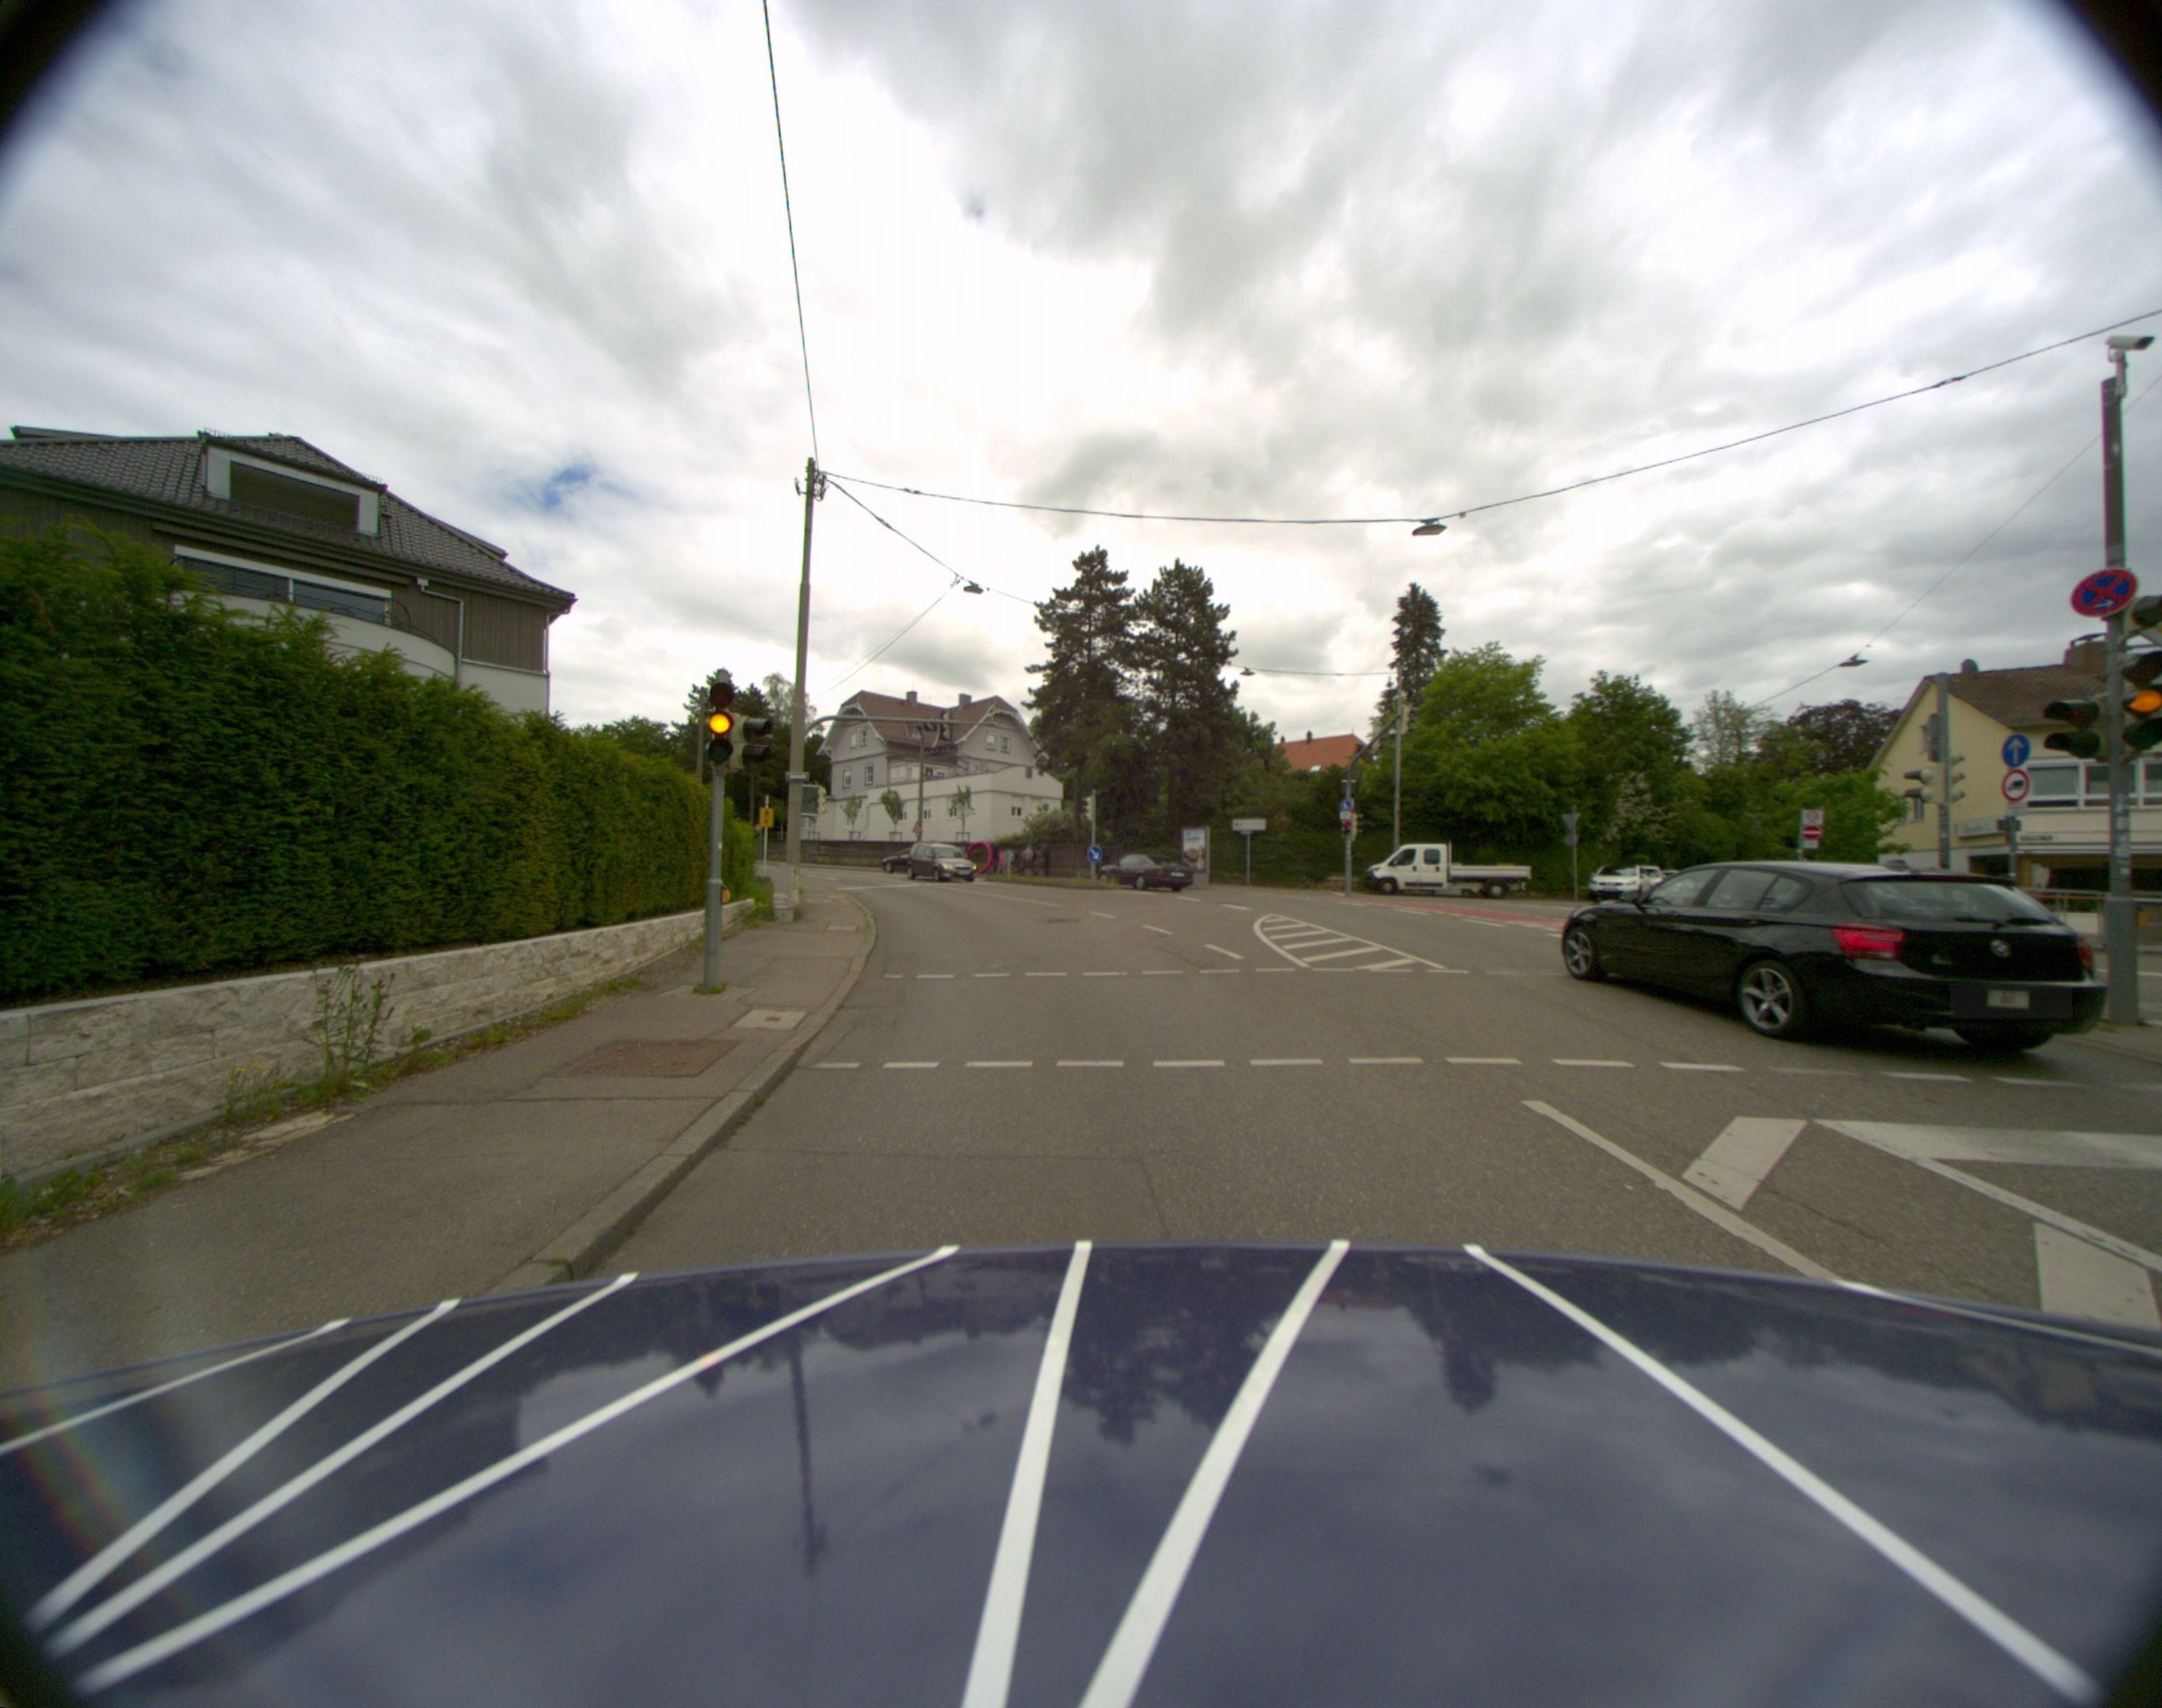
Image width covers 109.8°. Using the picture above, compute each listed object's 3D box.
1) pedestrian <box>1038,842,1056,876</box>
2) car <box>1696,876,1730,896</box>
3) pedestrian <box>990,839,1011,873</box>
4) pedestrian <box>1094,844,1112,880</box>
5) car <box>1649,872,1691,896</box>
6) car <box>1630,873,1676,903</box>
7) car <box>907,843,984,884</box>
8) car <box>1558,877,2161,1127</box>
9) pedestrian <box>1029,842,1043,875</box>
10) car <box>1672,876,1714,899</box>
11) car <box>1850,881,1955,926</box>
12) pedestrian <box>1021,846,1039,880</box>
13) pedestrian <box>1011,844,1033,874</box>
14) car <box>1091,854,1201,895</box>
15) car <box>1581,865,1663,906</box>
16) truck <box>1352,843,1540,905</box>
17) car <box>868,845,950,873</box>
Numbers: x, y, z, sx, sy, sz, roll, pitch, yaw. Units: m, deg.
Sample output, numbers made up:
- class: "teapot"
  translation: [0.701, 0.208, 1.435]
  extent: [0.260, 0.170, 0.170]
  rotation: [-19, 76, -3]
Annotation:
- class: "pedestrian"
  translation: [-1.826, 0.272, 40.704]
  extent: [0.611, 1.824, 0.605]
  rotation: [2, 1, 36]
- class: "car"
  translation: [54.616, 2.758, 65.646]
  extent: [1.866, 1.577, 3.739]
  rotation: [2, 0, 44]
- class: "pedestrian"
  translation: [-4.427, 0.111, 41.928]
  extent: [0.686, 1.803, 0.882]
  rotation: [2, 1, 38]
- class: "pedestrian"
  translation: [1.126, 0.426, 39.420]
  extent: [0.611, 1.824, 0.680]
  rotation: [2, 1, 36]
- class: "car"
  translation: [40.726, 2.044, 52.504]
  extent: [1.866, 1.577, 3.739]
  rotation: [2, 0, 44]
- class: "car"
  translation: [30.971, 1.791, 41.098]
  extent: [1.867, 1.445, 3.739]
  rotation: [1, 0, 38]
- class: "car"
  translation: [-5.704, 0.345, 31.619]
  extent: [1.621, 1.571, 3.990]
  rotation: [0, 1, -35]
- class: "car"
  translation: [6.327, 1.006, 6.910]
  extent: [1.765, 1.400, 4.003]
  rotation: [2, 0, 6]
- class: "pedestrian"
  translation: [-2.471, 0.267, 41.739]
  extent: [0.503, 1.803, 0.511]
  rotation: [2, 1, 38]
- class: "car"
  translation: [47.667, 2.563, 59.163]
  extent: [4.009, 1.607, 1.994]
  rotation: [1, 1, -43]
- class: "car"
  translation: [31.269, 1.838, 29.069]
  extent: [1.875, 1.440, 4.009]
  rotation: [2, 0, 35]
- class: "pedestrian"
  translation: [-2.763, 0.479, 40.784]
  extent: [0.664, 1.777, 0.614]
  rotation: [2, 1, 37]
- class: "pedestrian"
  translation: [-3.265, 0.290, 42.120]
  extent: [0.749, 1.643, 0.882]
  rotation: [2, 1, 38]
- class: "car"
  translation: [2.343, 0.730, 28.842]
  extent: [1.855, 1.320, 4.856]
  rotation: [1, 1, -27]
- class: "car"
  translation: [23.228, 1.321, 32.597]
  extent: [4.009, 1.603, 1.994]
  rotation: [2, 1, -42]
- class: "truck"
  translation: [14.888, 0.750, 31.539]
  extent: [6.701, 2.176, 2.533]
  rotation: [2, 1, 20]
- class: "car"
  translation: [-9.621, 0.263, 42.240]
  extent: [5.042, 1.414, 2.004]
  rotation: [2, 1, 44]
